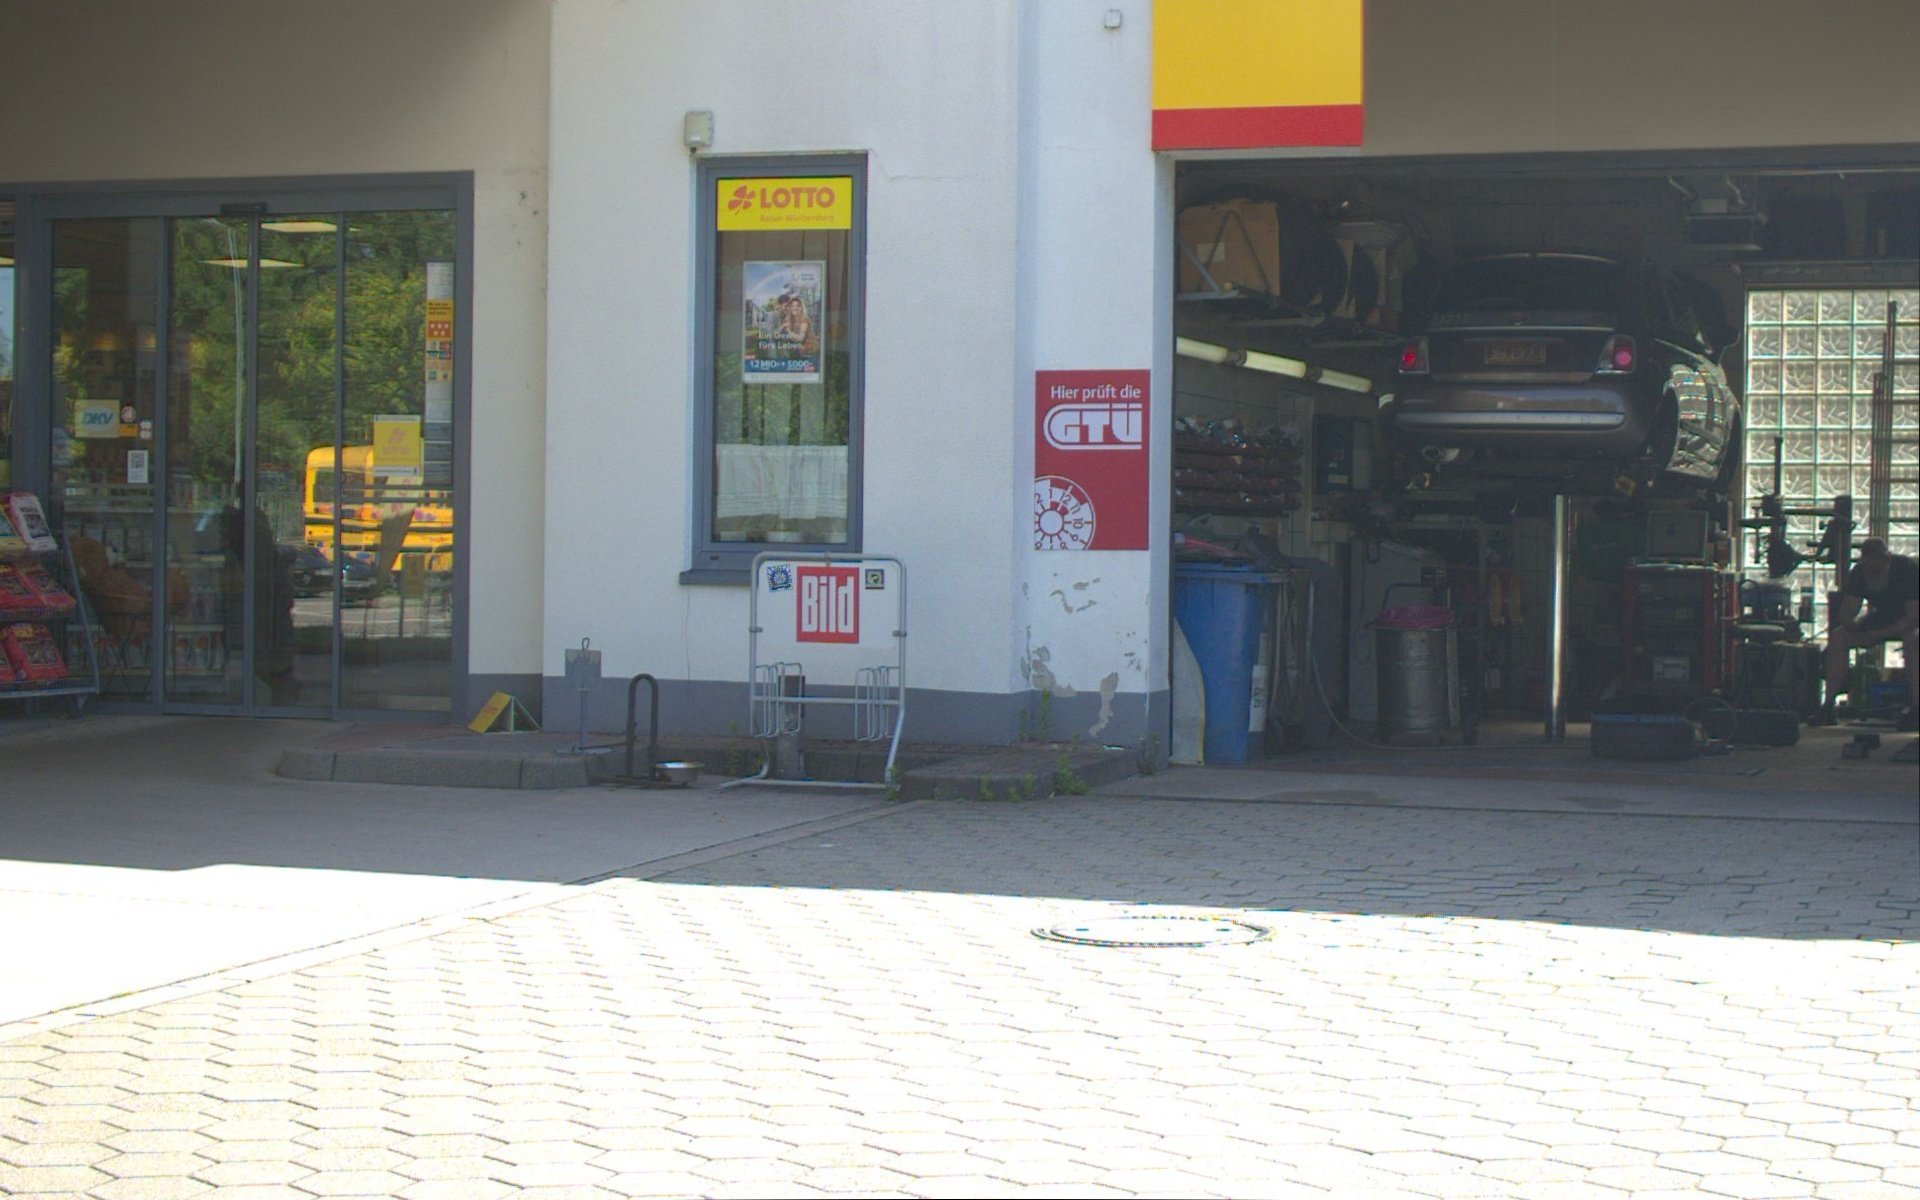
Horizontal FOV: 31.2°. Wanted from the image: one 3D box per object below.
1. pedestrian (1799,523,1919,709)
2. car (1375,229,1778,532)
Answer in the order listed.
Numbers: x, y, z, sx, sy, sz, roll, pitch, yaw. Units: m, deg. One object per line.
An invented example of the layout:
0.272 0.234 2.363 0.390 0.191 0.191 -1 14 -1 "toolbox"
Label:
5.985 0.106 22.559 0.864 1.194 0.742 1 -1 18 "pedestrian"
3.809 -1.229 20.724 1.648 1.481 3.995 1 -1 21 "car"
